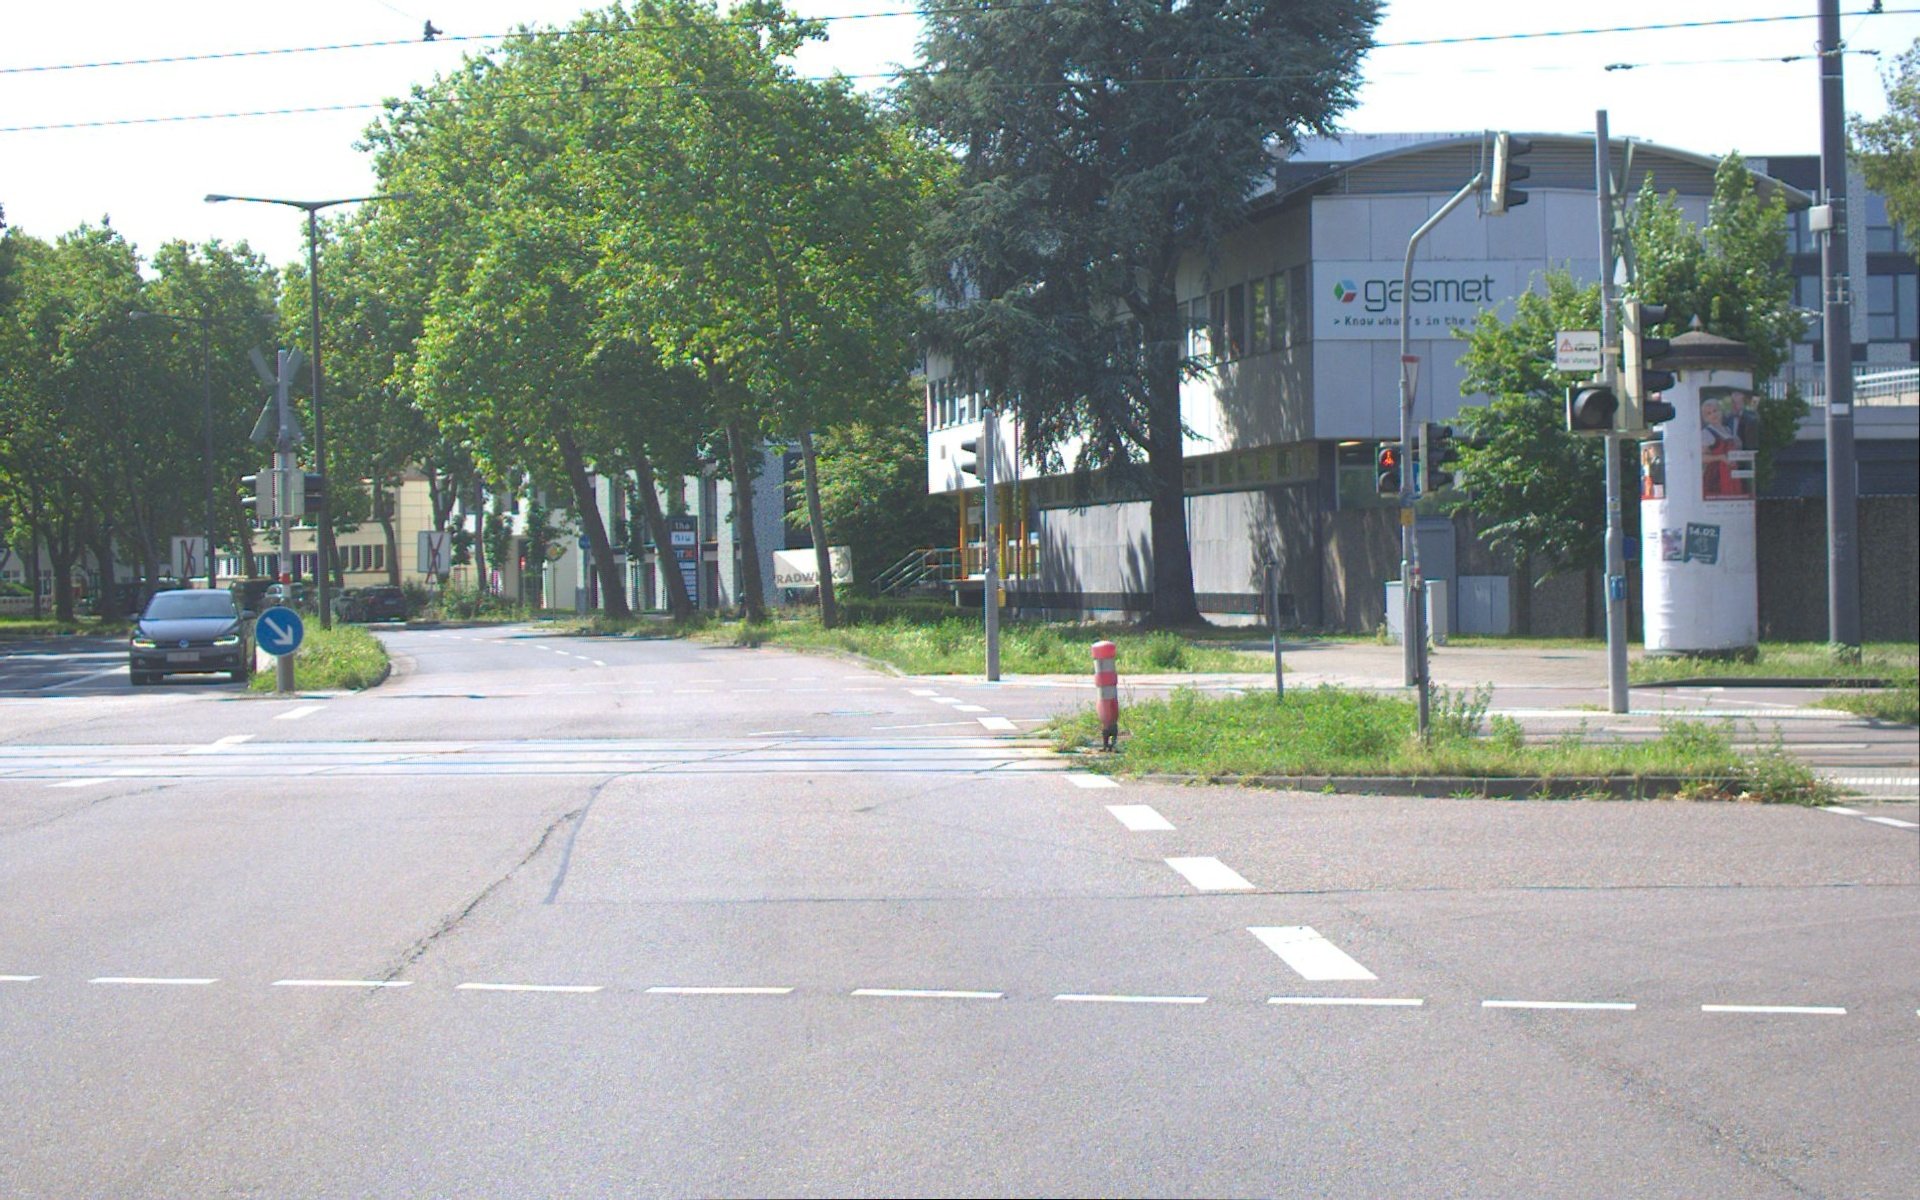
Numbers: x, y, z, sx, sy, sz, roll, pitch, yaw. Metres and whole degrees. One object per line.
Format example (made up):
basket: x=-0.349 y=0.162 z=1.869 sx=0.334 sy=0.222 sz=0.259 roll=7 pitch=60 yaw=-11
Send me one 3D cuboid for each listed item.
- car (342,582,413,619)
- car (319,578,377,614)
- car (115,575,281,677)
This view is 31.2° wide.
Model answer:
car: x=-24.327 y=0.012 z=143.445 sx=1.706 sy=1.482 sz=4.720 roll=-3 pitch=1 yaw=-25
car: x=-26.462 y=-0.179 z=148.530 sx=1.706 sy=1.482 sz=4.102 roll=-2 pitch=1 yaw=-21
car: x=-11.844 y=0.375 z=53.660 sx=1.694 sy=1.503 sz=4.130 roll=-1 pitch=1 yaw=-1
